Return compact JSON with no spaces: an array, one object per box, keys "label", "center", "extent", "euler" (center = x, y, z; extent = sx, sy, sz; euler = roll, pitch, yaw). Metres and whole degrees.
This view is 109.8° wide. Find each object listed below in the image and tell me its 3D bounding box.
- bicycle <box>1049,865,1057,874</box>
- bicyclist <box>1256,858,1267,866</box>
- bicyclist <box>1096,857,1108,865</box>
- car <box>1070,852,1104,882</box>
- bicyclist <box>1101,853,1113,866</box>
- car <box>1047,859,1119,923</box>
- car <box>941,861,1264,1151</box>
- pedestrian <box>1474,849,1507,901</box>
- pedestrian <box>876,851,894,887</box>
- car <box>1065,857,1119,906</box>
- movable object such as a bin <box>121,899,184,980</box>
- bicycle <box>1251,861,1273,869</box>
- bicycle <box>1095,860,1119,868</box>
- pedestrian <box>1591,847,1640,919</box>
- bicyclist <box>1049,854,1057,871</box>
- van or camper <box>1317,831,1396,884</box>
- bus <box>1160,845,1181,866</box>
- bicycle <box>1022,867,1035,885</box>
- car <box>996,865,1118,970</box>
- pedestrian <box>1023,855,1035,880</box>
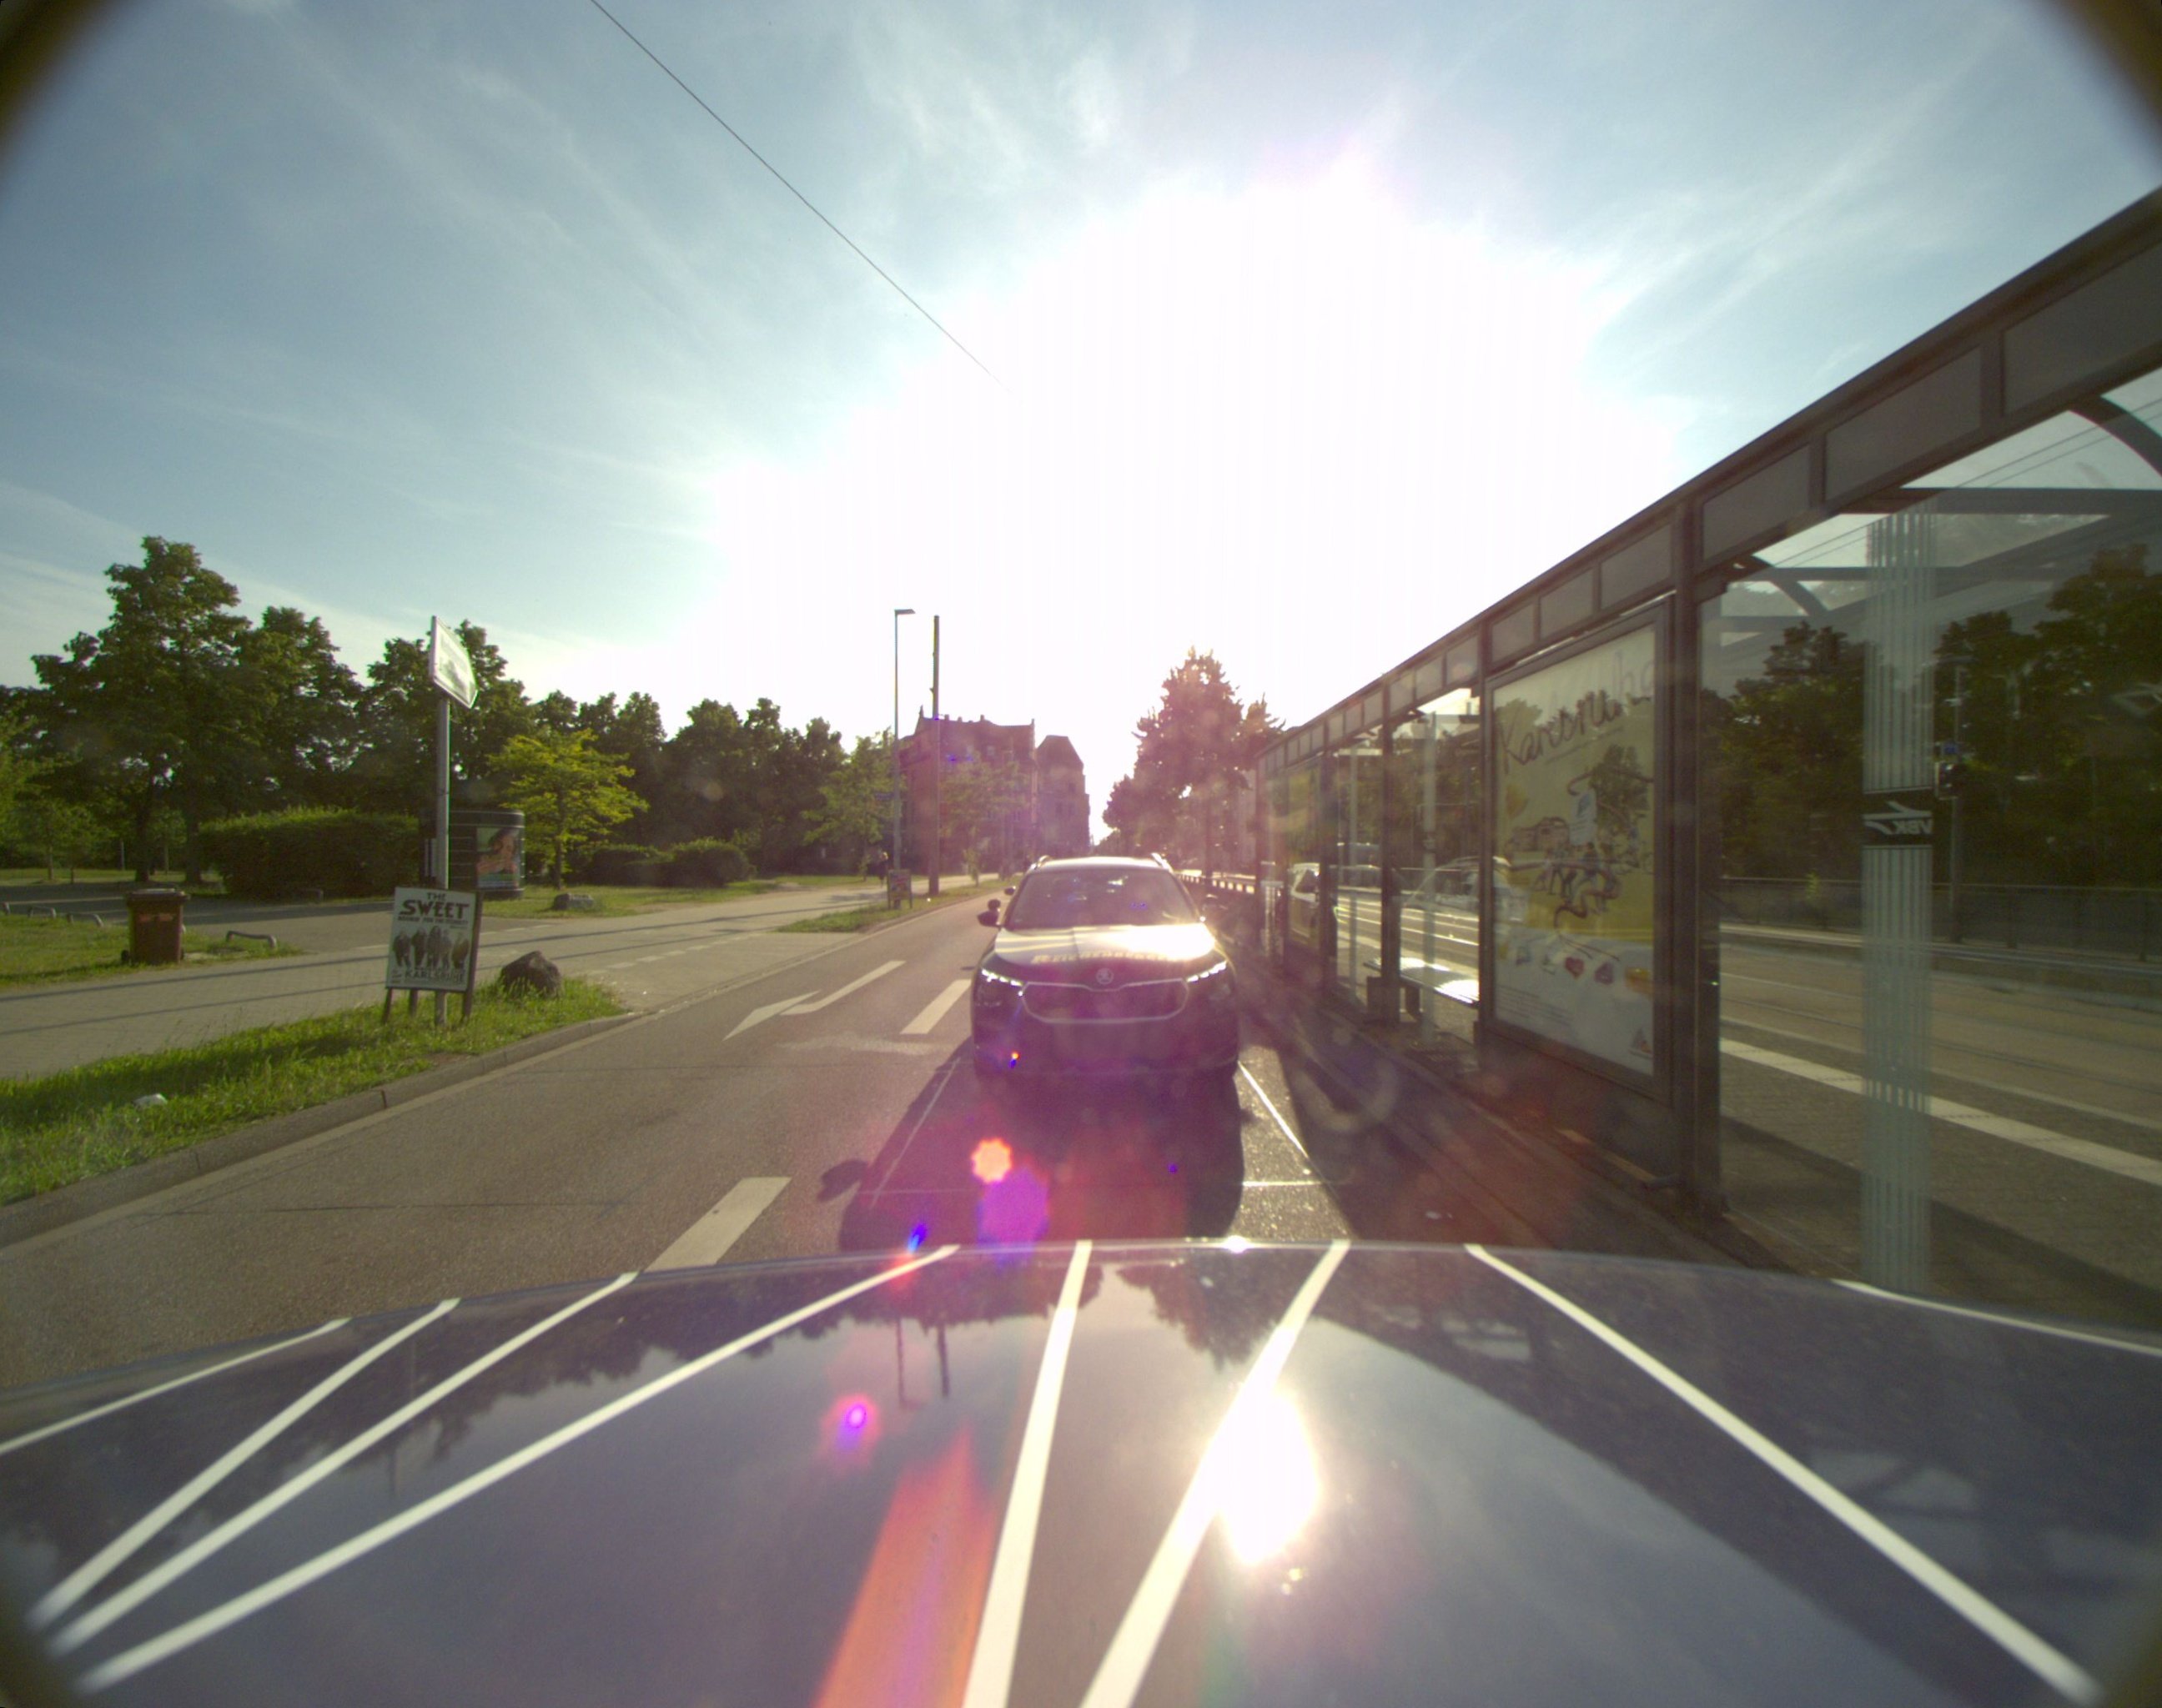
[{"label":"bicycle","center":[-2.385,1.324,65.168],"extent":[0.567,0.789,2.041],"euler":[0,0,0]},{"label":"bicyclist","center":[21.958,0.947,92.390],"extent":[1.216,1.018,0.672],"euler":[0,0,5]},{"label":"bicyclist","center":[2.576,0.849,91.505],"extent":[1.402,1.000,0.888],"euler":[0,0,-1]},{"label":"car","center":[0.342,0.683,42.699],"extent":[1.756,1.534,4.235],"euler":[-1,0,1]},{"label":"bicyclist","center":[3.214,0.668,95.062],"extent":[1.402,1.538,0.888],"euler":[0,0,-1]},{"label":"car","center":[0.076,0.937,21.010],"extent":[1.756,1.534,4.235],"euler":[-1,0,1]},{"label":"car","center":[0.154,0.870,6.334],"extent":[1.756,1.534,4.235],"euler":[-1,0,1]},{"label":"pedestrian","center":[13.385,0.679,24.843],"extent":[0.621,1.675,0.618],"euler":[3,1,1]},{"label":"pedestrian","center":[-9.364,0.697,36.335],"extent":[0.621,1.675,0.618],"euler":[-2,1,1]},{"label":"car","center":[0.398,0.908,26.969],"extent":[1.756,1.534,4.235],"euler":[-1,0,1]},{"label":"movable object such as a bin","center":[-11.408,1.032,9.348],"extent":[0.603,0.912,0.457],"euler":[1,1,42]},{"label":"bicycle","center":[22.016,1.345,92.395],"extent":[2.536,0.876,0.631],"euler":[0,0,5]},{"label":"bicycle","center":[3.300,1.205,95.059],"extent":[2.962,0.974,0.879],"euler":[0,0,-2]},{"label":"pedestrian","center":[12.841,0.680,18.270],"extent":[0.621,1.675,0.618],"euler":[3,1,1]},{"label":"bicyclist","center":[-2.393,0.751,65.175],"extent":[0.689,1.445,1.111],"euler":[0,0,0]},{"label":"van or camper","center":[16.800,0.163,46.765],"extent":[2.527,2.951,6.411],"euler":[-2,1,1]},{"label":"bus","center":[15.290,0.204,130.215],"extent":[2.437,3.415,9.261],"euler":[-2,1,1]},{"label":"bicycle","center":[-3.252,1.338,47.114],"extent":[0.652,1.040,1.980],"euler":[-2,1,-1]},{"label":"car","center":[-0.323,0.964,13.258],"extent":[1.756,1.451,4.235],"euler":[-1,0,1]},{"label":"pedestrian","center":[-3.218,0.807,47.231],"extent":[0.637,1.512,0.845],"euler":[-2,1,-1]}]
